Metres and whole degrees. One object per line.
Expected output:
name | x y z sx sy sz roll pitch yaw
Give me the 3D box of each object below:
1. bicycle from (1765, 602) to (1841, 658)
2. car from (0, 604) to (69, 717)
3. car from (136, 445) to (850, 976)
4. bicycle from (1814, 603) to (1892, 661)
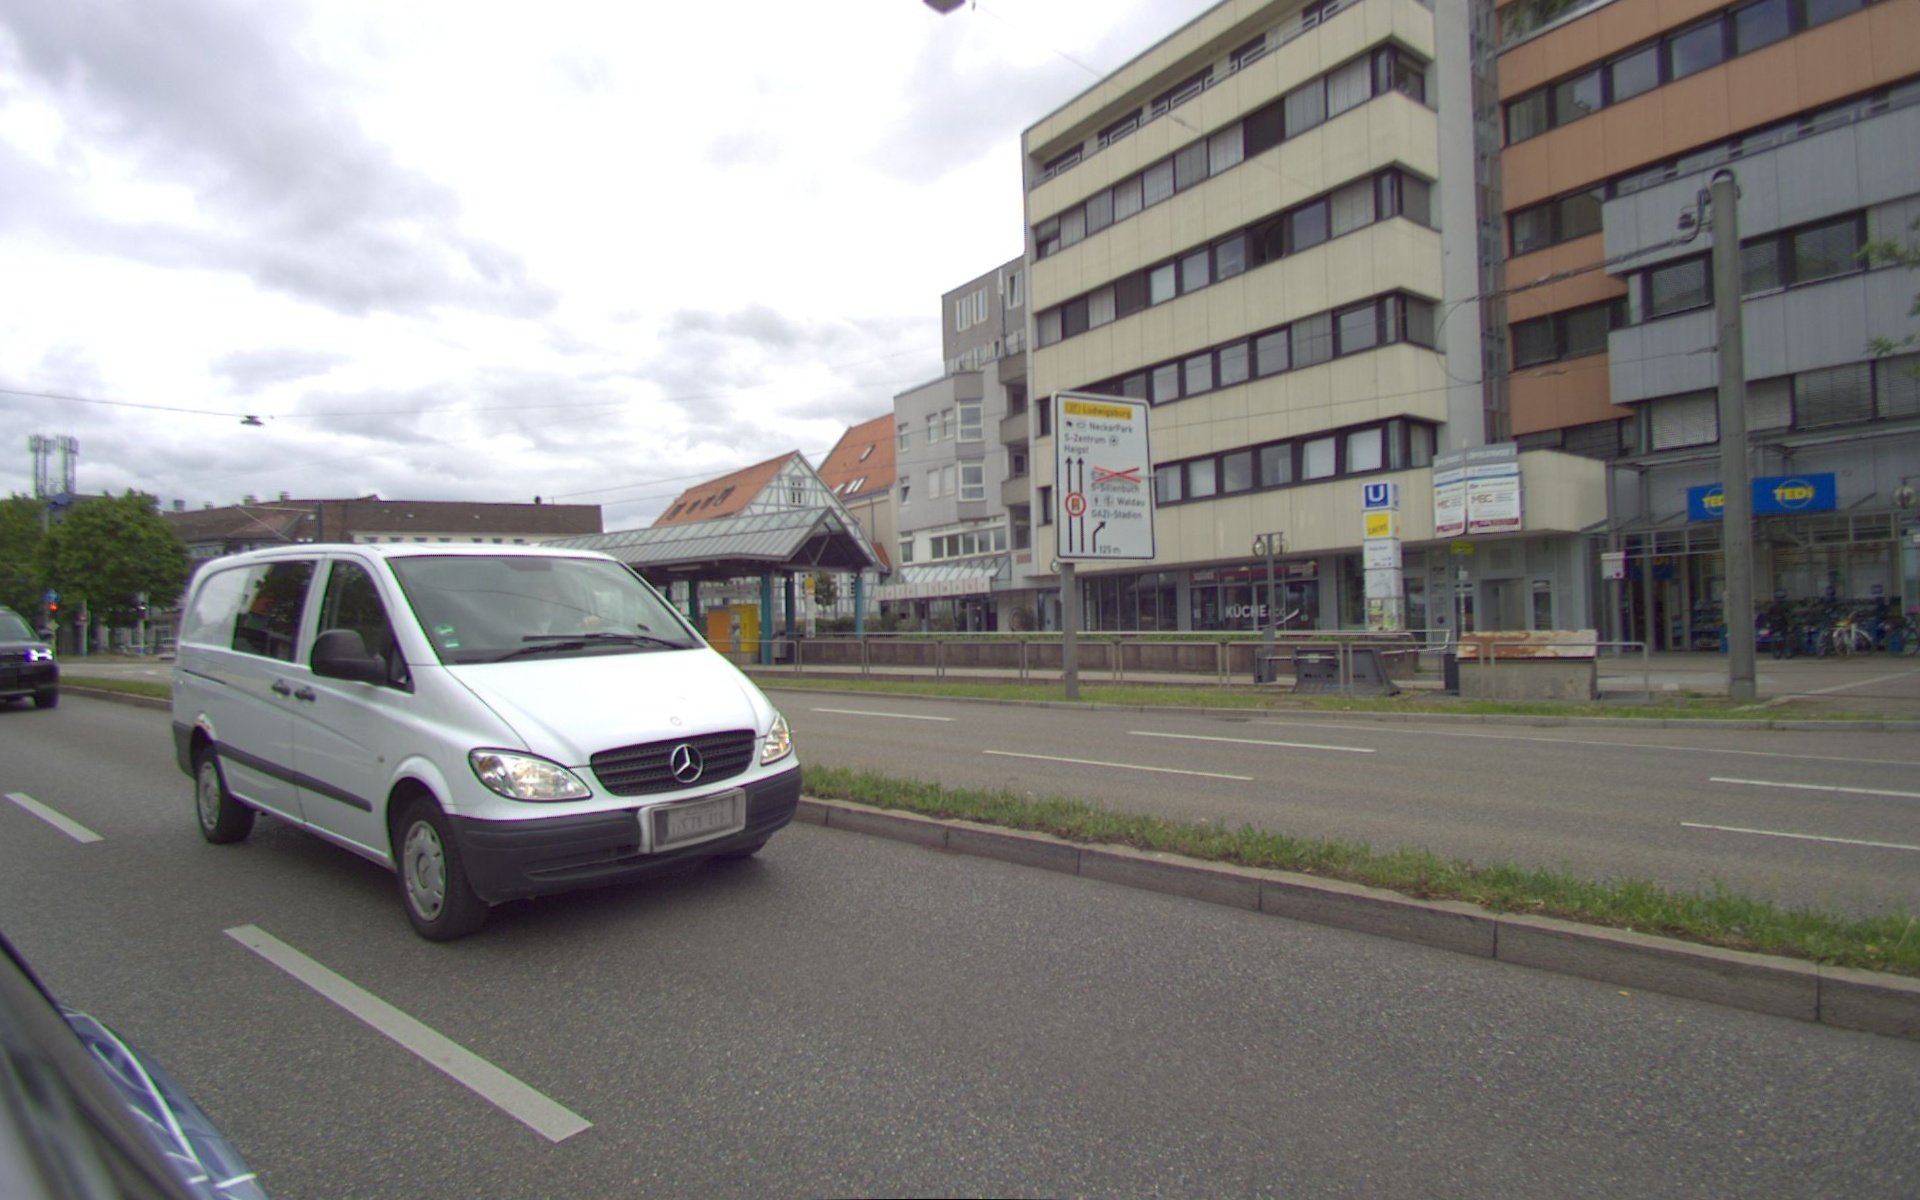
bicycle | 20.726 0.720 24.879 1.940 1.329 0.708 0 -1 -28
car | -17.192 1.008 17.401 4.671 1.764 1.904 -1 2 38
car | -3.155 0.501 6.184 5.069 2.029 1.856 -2 -2 38
bicycle | 21.163 0.749 23.983 1.940 1.329 0.708 0 -1 -28
